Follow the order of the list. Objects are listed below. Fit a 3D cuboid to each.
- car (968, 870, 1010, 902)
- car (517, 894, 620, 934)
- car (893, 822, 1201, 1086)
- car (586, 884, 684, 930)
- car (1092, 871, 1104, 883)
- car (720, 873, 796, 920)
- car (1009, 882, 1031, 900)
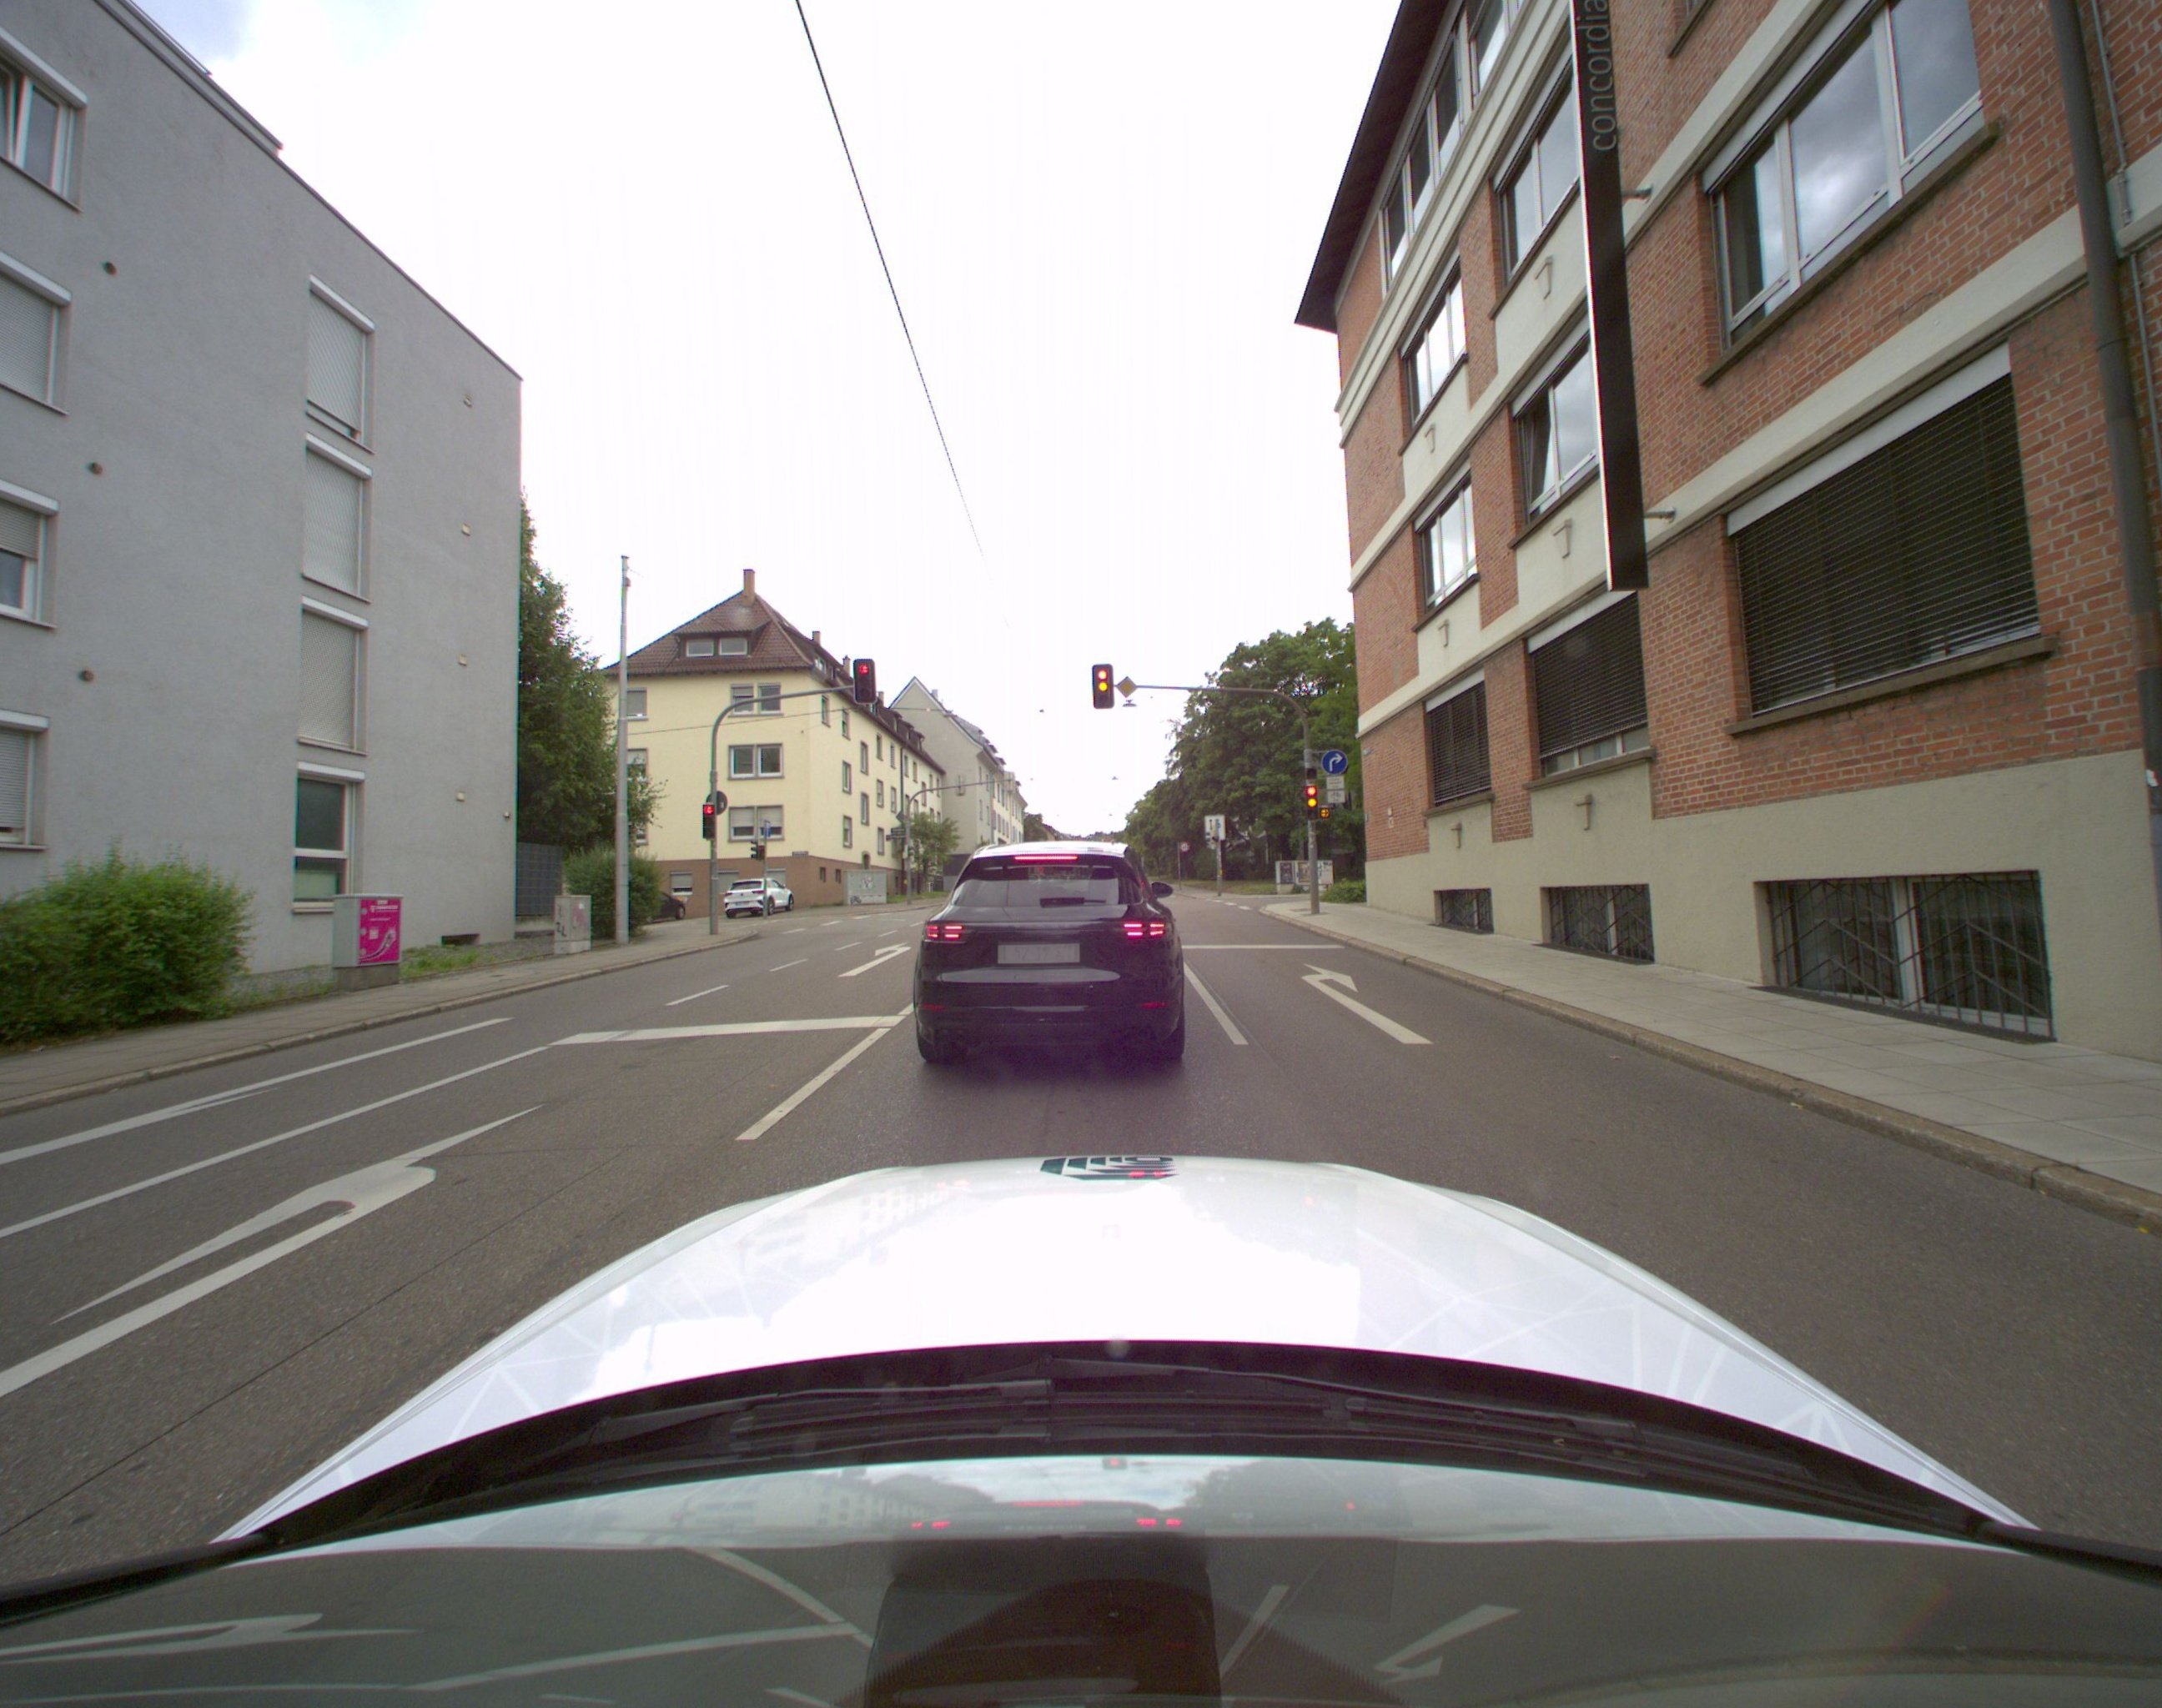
[{"bbox_3d":[-5.134,1.770,45.803,1.657,1.519,3.742,-5,-1,2],"label":"car"},{"bbox_3d":[-21.392,2.462,34.181,1.663,1.362,4.001,-1,-1,2],"label":"car"},{"bbox_3d":[-0.160,0.667,7.284,1.986,1.697,4.001,0,-1,2],"label":"car"},{"bbox_3d":[-18.642,2.174,34.293,1.664,1.546,4.103,-5,-1,2],"label":"car"},{"bbox_3d":[2.342,3.189,113.604,1.683,1.552,3.888,0,-1,0],"label":"car"},{"bbox_3d":[-13.574,1.735,34.454,1.666,1.662,3.996,-4,0,-3],"label":"car"},{"bbox_3d":[-5.222,3.155,69.870,1.665,1.362,3.998,-1,-1,-1],"label":"car"}]
